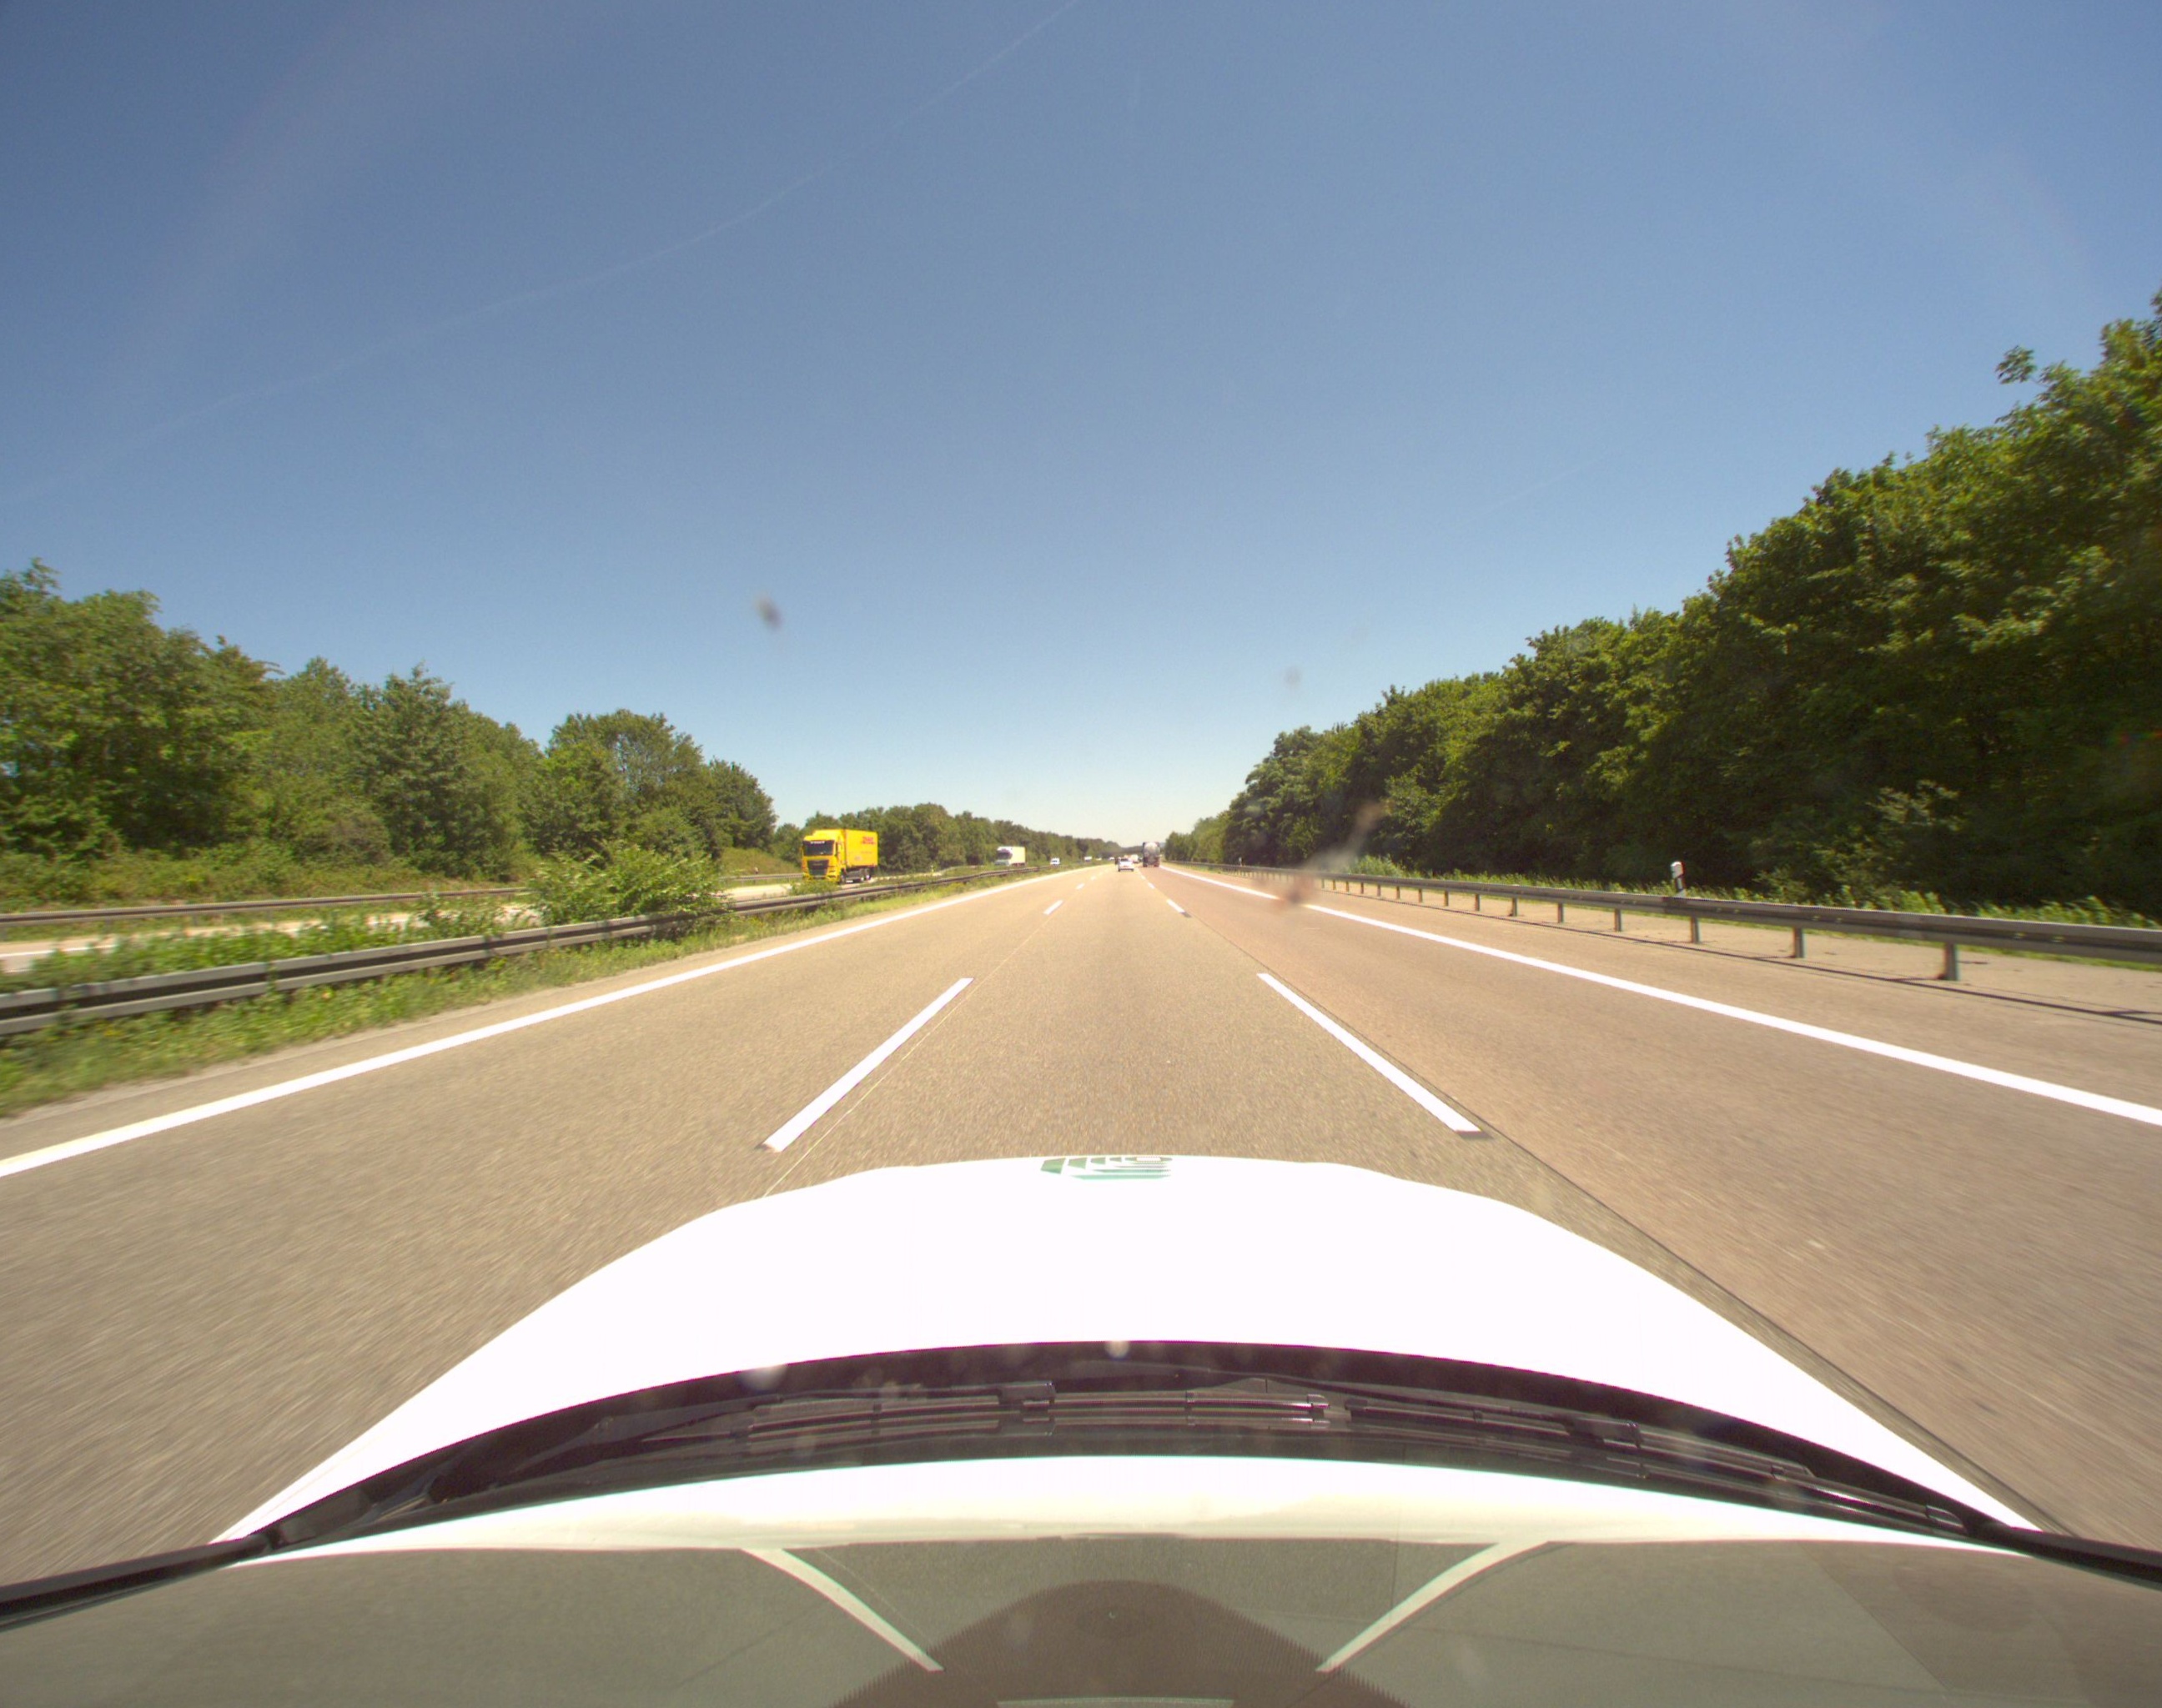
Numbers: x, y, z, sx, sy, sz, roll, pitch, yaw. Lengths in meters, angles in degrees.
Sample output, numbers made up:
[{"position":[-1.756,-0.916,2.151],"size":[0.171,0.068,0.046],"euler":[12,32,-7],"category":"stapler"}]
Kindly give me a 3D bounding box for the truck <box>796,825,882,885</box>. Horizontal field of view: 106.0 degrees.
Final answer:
[{"position":[-17.995,0.157,61.524],"size":[2.738,4.040,10.798],"euler":[-1,-1,3],"category":"truck"}]

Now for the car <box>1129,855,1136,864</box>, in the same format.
[{"position":[14.101,1.426,222.532],"size":[1.985,2.343,4.390],"euler":[-1,0,3],"category":"car"}]

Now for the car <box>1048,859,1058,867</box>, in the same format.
[{"position":[-6.352,2.046,184.383],"size":[1.808,1.876,4.882],"euler":[-1,0,3],"category":"car"}]

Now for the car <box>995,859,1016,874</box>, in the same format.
[{"position":[-8.129,1.327,87.875],"size":[1.775,1.571,3.982],"euler":[-1,0,2],"category":"car"}]

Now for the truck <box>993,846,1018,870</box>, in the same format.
[{"position":[-12.933,0.758,139.417],"size":[3.246,3.951,6.107],"euler":[-1,-1,4],"category":"truck"}]

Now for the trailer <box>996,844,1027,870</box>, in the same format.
[{"position":[-12.413,0.609,146.550],"size":[3.296,4.362,13.603],"euler":[-1,0,4],"category":"trailer"}]

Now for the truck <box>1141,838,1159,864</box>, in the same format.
[{"position":[11.220,-0.462,132.470],"size":[2.726,4.052,10.467],"euler":[-1,-1,5],"category":"truck"}]

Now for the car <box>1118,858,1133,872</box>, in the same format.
[{"position":[4.888,1.154,89.904],"size":[1.621,1.479,4.002],"euler":[-1,-1,2],"category":"car"}]
